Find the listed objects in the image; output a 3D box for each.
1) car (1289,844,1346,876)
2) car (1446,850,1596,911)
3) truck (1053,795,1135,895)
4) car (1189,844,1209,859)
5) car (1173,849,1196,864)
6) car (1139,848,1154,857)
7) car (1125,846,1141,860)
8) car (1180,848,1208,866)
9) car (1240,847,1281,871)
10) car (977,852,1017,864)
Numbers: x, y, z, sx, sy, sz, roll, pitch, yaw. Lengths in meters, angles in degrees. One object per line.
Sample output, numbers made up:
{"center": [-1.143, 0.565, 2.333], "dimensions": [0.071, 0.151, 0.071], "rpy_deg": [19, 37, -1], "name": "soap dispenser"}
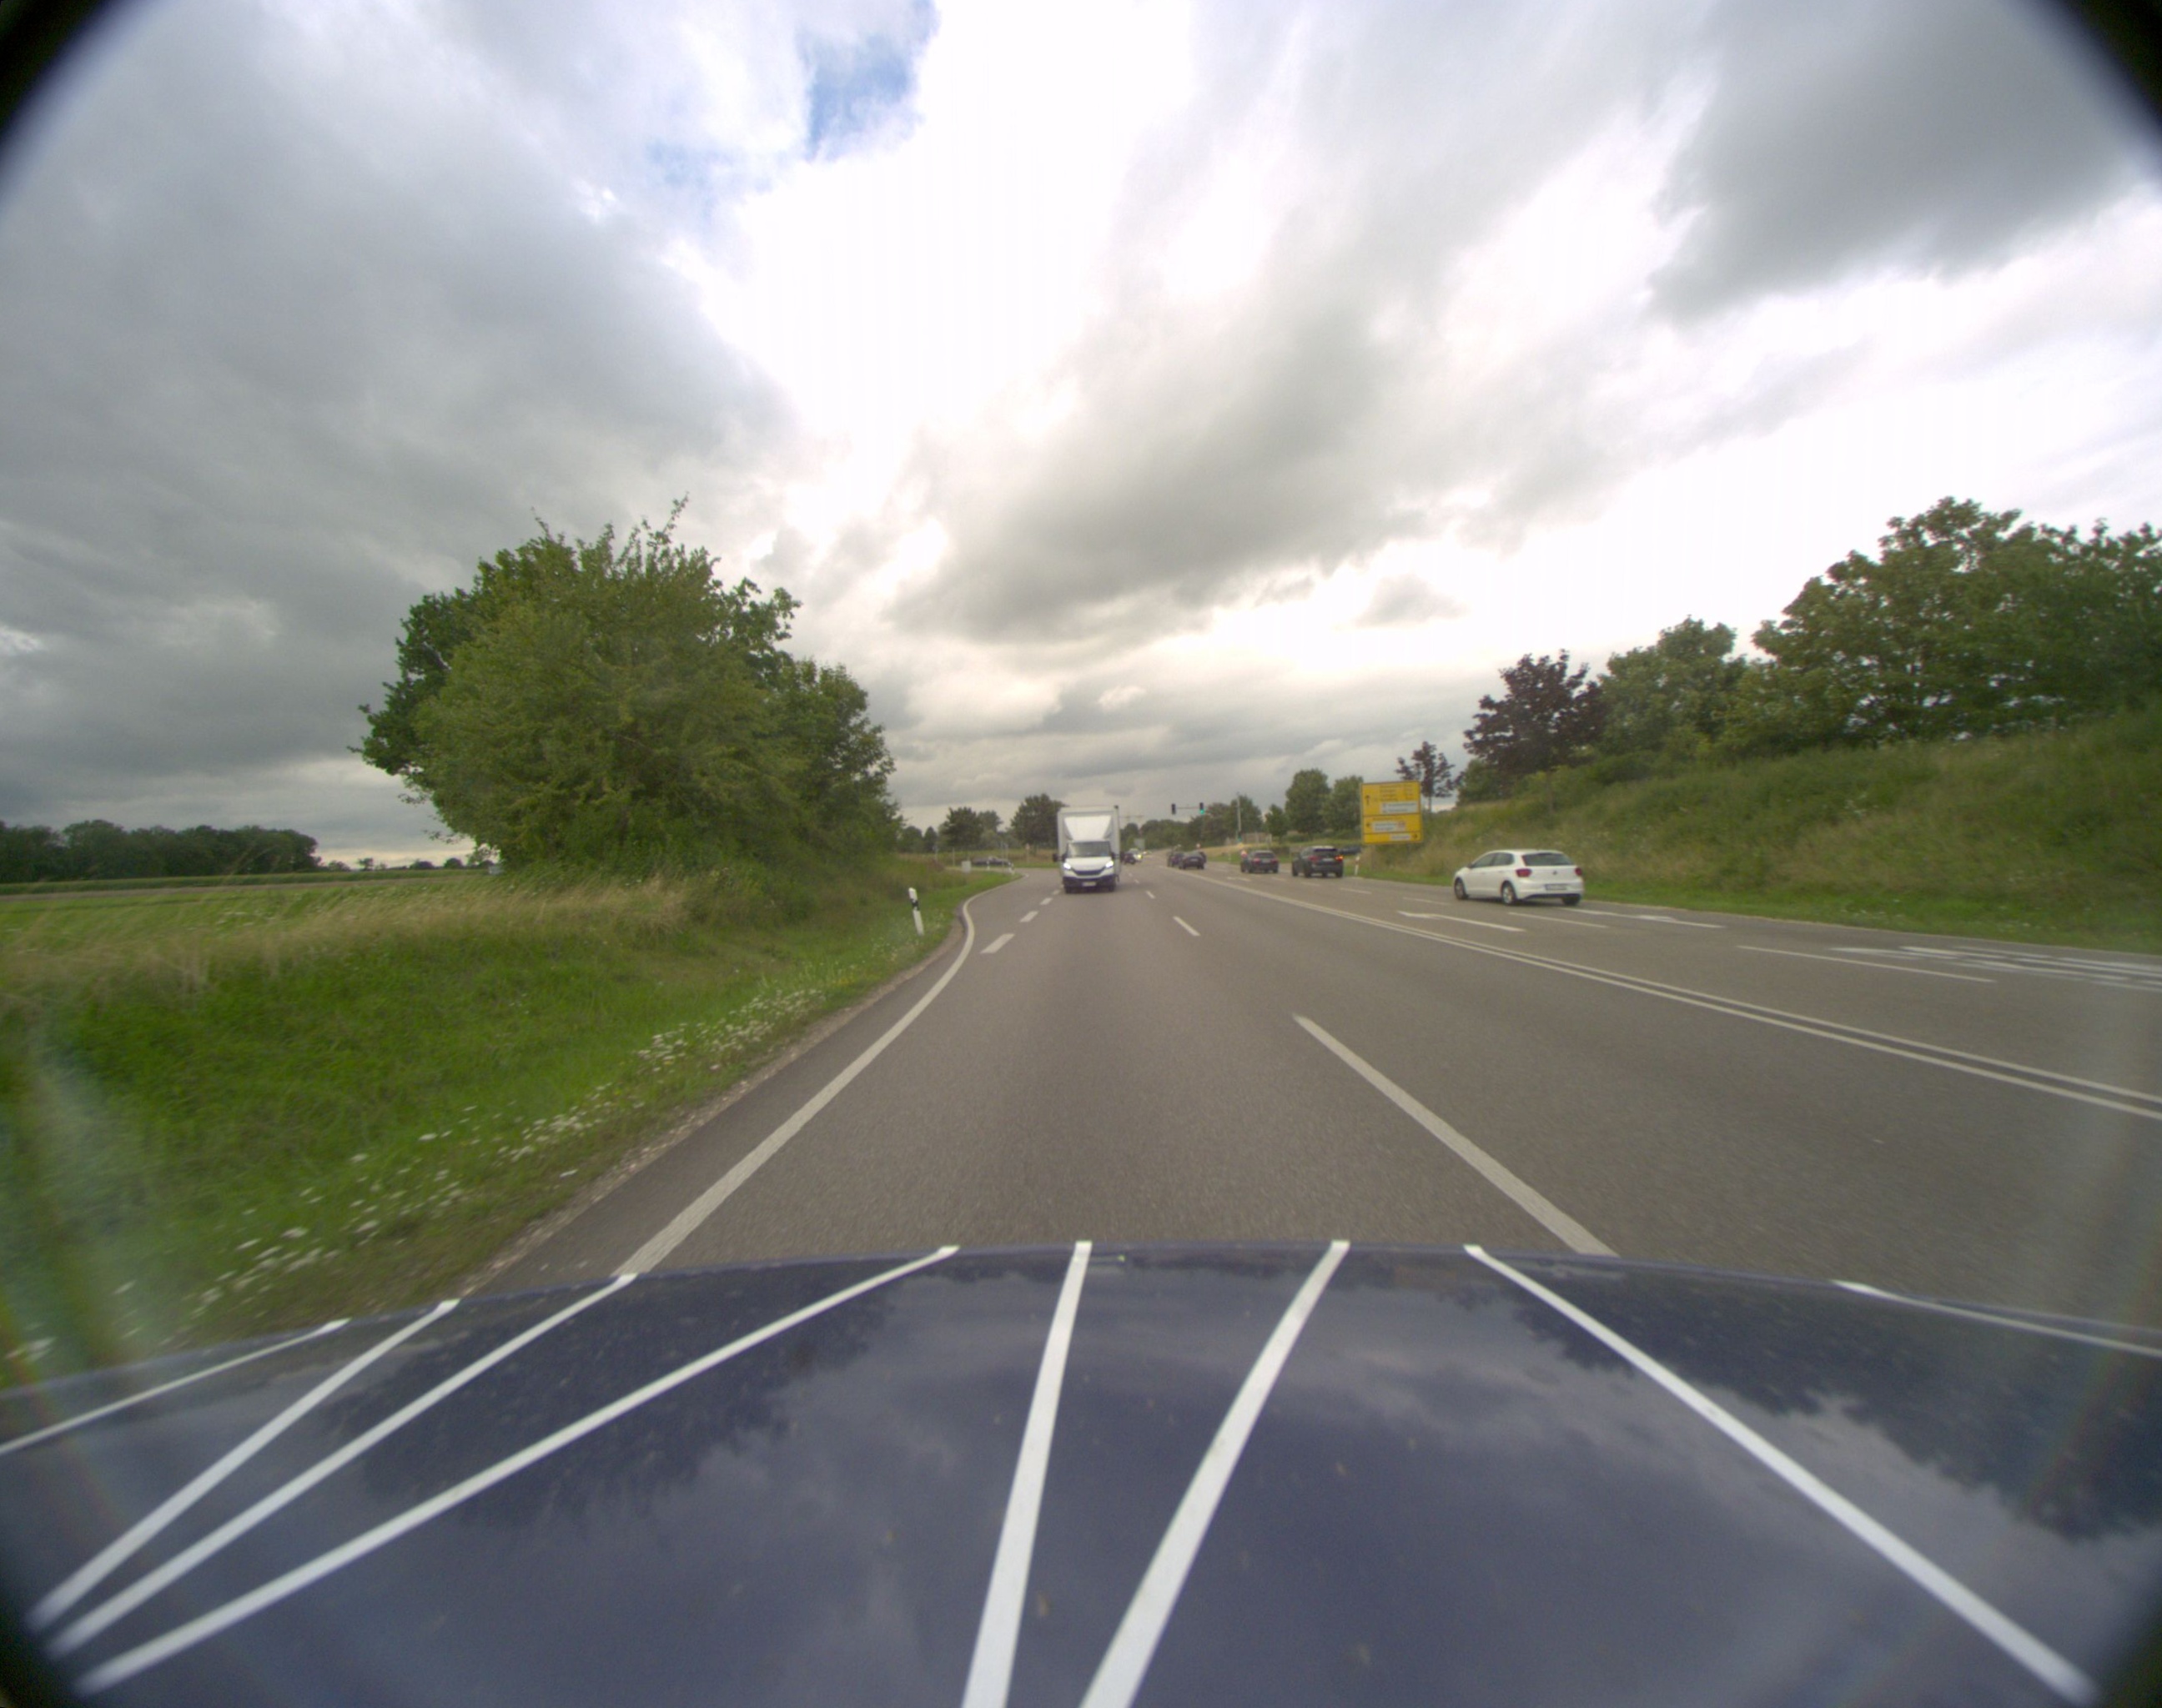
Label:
{"center": [12.668, 0.309, 40.921], "dimensions": [1.860, 1.587, 4.398], "rpy_deg": [-1, 0, 2], "name": "car"}
{"center": [11.518, 0.623, 20.241], "dimensions": [1.612, 1.406, 4.056], "rpy_deg": [-2, 0, 0], "name": "car"}
{"center": [0.384, -0.365, 33.342], "dimensions": [2.935, 3.652, 8.440], "rpy_deg": [-3, 0, -2], "name": "truck"}
{"center": [14.445, -0.353, 93.308], "dimensions": [1.855, 1.706, 4.129], "rpy_deg": [-3, 0, 1], "name": "car"}
{"center": [9.938, 0.213, 73.312], "dimensions": [1.860, 1.441, 4.000], "rpy_deg": [-1, 0, 2], "name": "car"}
{"center": [9.420, -0.208, 109.543], "dimensions": [1.860, 1.274, 4.000], "rpy_deg": [-1, 0, 2], "name": "car"}
{"center": [6.186, -0.101, 90.464], "dimensions": [1.860, 1.587, 3.675], "rpy_deg": [-1, 0, 2], "name": "car"}
{"center": [9.388, 0.243, 63.361], "dimensions": [1.860, 1.399, 4.185], "rpy_deg": [-1, 0, 2], "name": "car"}
{"center": [11.784, 0.291, 50.191], "dimensions": [1.727, 1.472, 4.659], "rpy_deg": [-1, 0, 2], "name": "car"}
{"center": [-9.833, 0.437, 89.543], "dimensions": [4.345, 1.215, 1.866], "rpy_deg": [-2, 1, 5], "name": "car"}
